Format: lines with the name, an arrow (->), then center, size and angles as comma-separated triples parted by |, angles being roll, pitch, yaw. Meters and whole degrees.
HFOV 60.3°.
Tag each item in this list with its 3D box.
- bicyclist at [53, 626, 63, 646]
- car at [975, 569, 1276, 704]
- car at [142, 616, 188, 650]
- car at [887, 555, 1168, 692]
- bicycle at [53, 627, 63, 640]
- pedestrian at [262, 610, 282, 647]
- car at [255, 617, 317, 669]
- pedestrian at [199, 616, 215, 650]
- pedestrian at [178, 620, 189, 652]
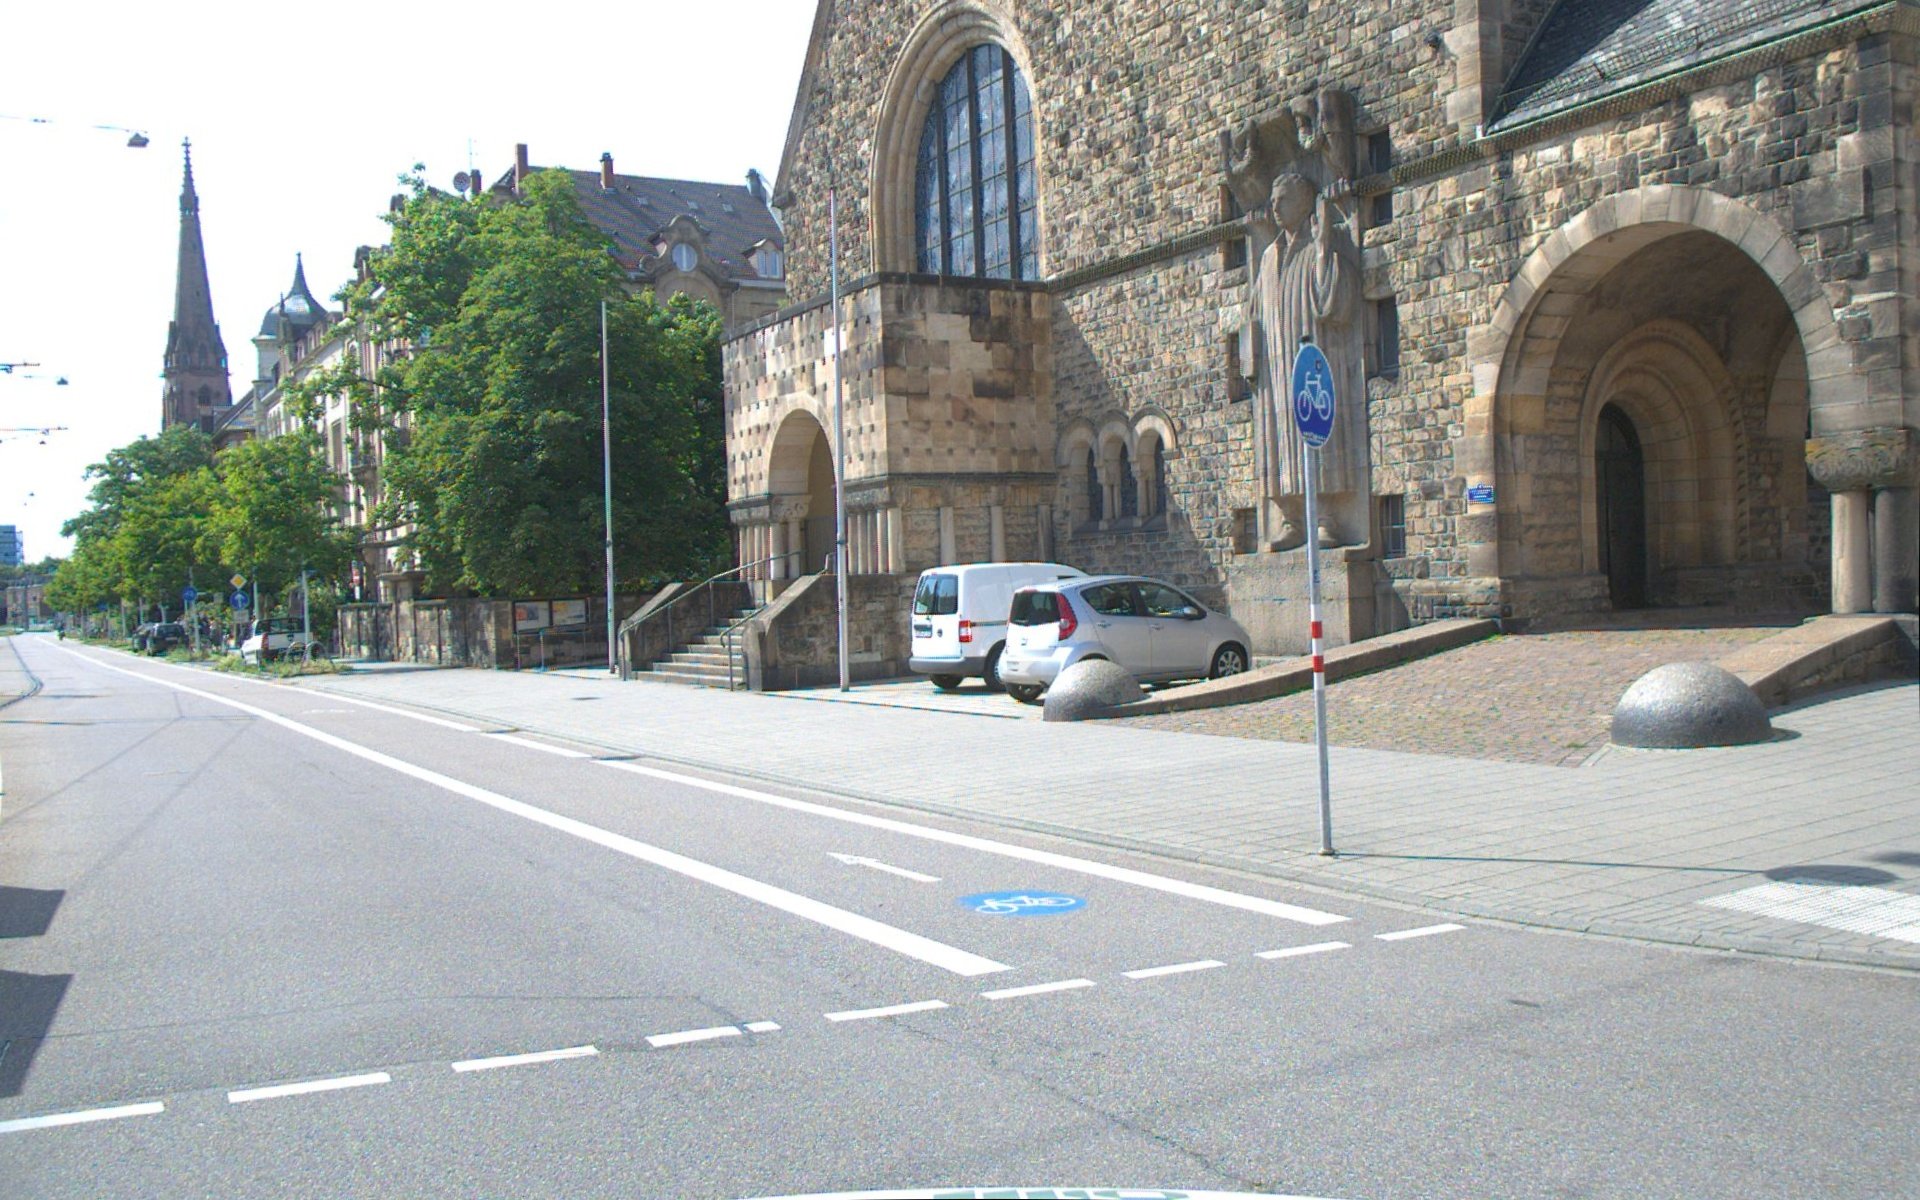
bicyclist -> -84.929, 3.390, 155.711 | 0.762, 1.760, 1.016 | -2, 0, -30
car -> 2.250, 0.440, 22.283 | 3.731, 1.574, 1.778 | -3, 1, -33
car -> -38.441, 1.567, 79.943 | 1.668, 1.528, 4.660 | -3, 1, -30
car -> 1.071, 0.309, 25.429 | 3.967, 1.855, 1.842 | -3, 1, -34
bicycle -> -84.930, 3.148, 155.712 | 0.790, 1.258, 2.750 | -2, 0, -29
pedestrian -> -31.448, 1.315, 75.630 | 0.716, 1.657, 0.717 | -2, 0, -31
car -> -20.013, 1.252, 49.173 | 1.645, 1.441, 3.818 | -1, 0, -22
pedestrian -> -42.081, 1.840, 92.417 | 0.663, 1.835, 0.315 | -5, 2, -33
pedestrian -> -42.813, 1.978, 91.193 | 0.313, 1.736, 0.458 | -5, 2, -16
